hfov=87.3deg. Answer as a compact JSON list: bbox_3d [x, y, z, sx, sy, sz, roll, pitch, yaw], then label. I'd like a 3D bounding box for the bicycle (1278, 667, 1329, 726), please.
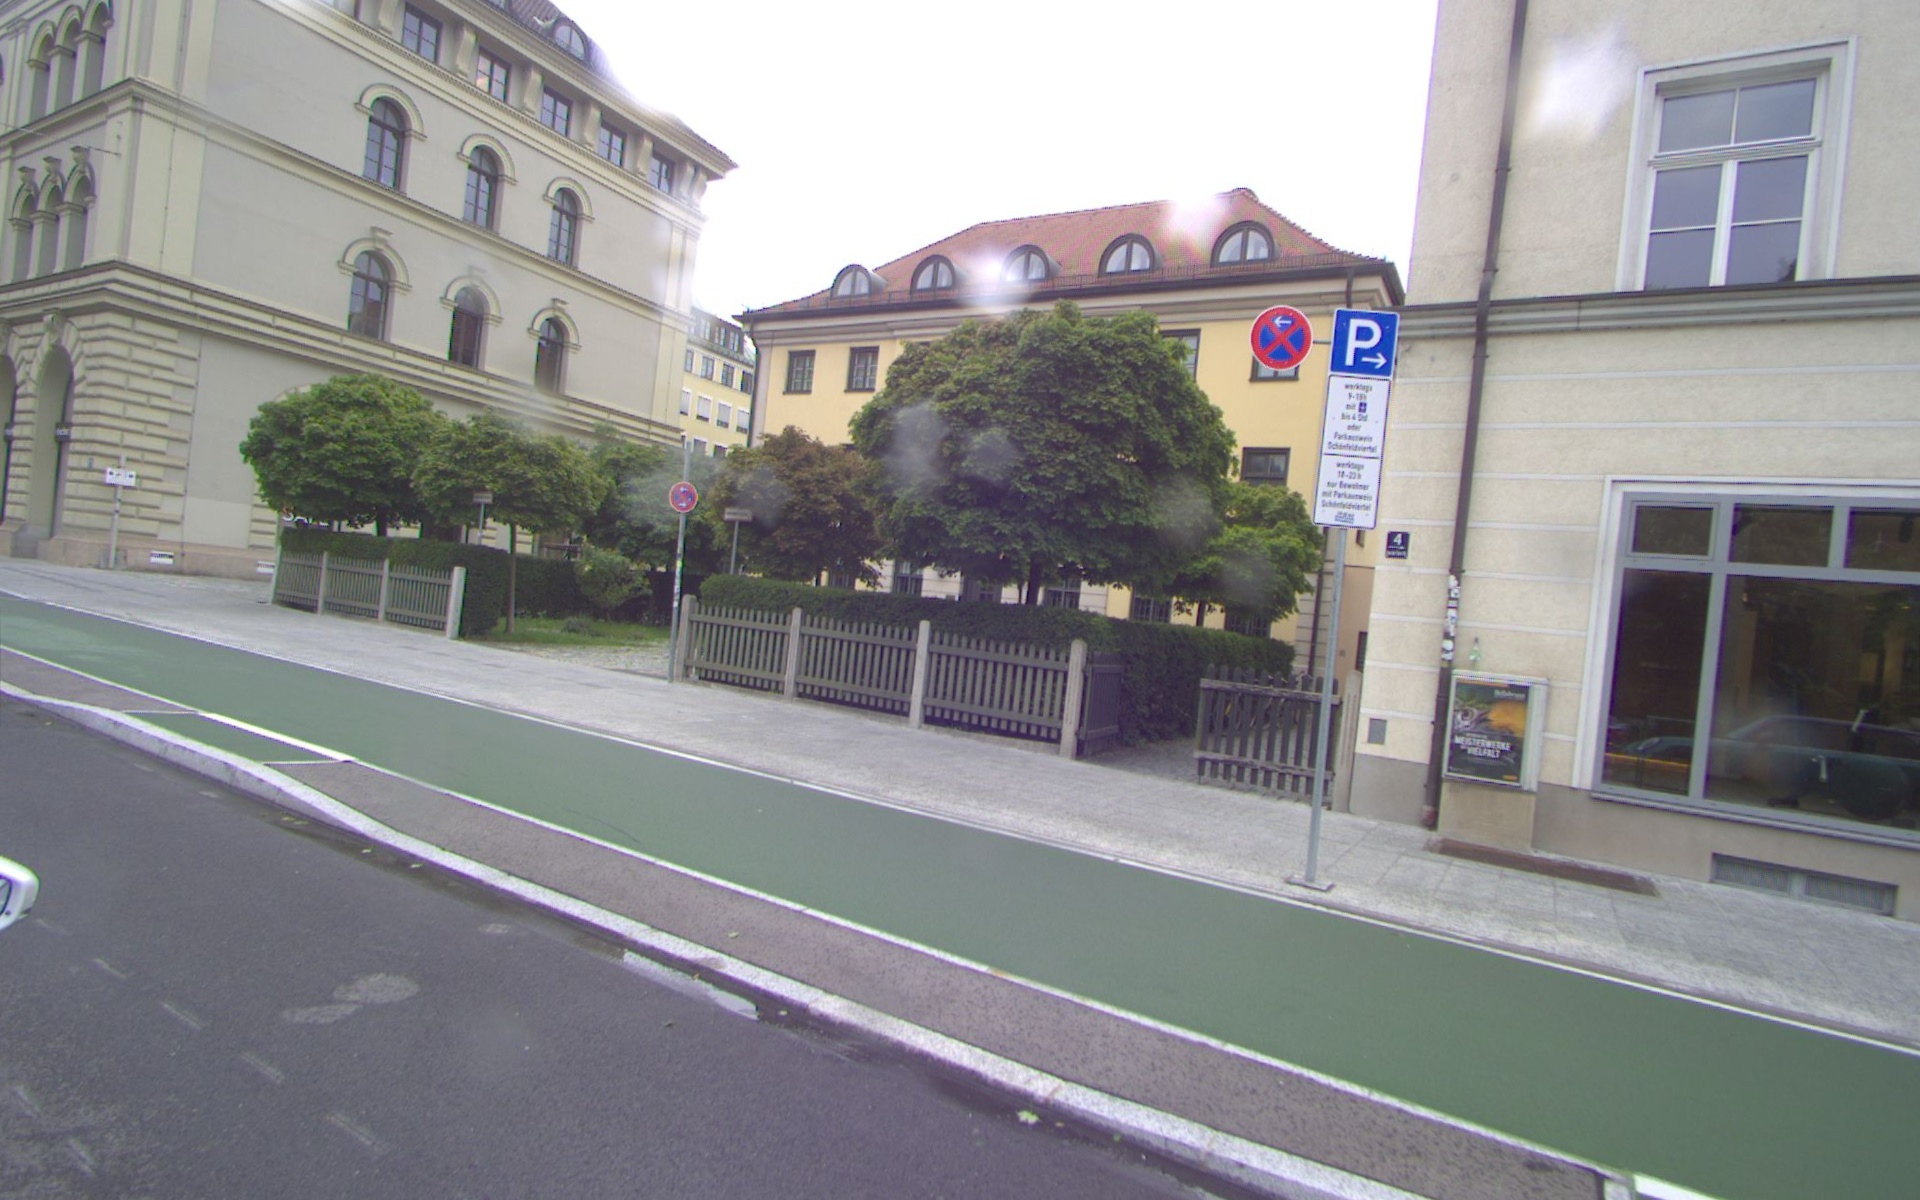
[{"bbox_3d":[6.810,1.895,19.892,0.512,1.048,1.830,6,-1,30],"label":"bicycle"}]

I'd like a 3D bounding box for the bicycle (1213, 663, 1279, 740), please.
[{"bbox_3d":[4.686,1.633,16.420,0.512,1.129,1.830,6,-1,30],"label":"bicycle"}]

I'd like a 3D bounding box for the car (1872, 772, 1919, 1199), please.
[{"bbox_3d":[3.564,1.153,0.885,3.767,1.538,1.678,6,-2,33],"label":"car"}]

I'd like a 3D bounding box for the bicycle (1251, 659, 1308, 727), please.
[{"bbox_3d":[5.822,1.678,18.256,0.512,1.124,1.830,6,-1,30],"label":"bicycle"}]
